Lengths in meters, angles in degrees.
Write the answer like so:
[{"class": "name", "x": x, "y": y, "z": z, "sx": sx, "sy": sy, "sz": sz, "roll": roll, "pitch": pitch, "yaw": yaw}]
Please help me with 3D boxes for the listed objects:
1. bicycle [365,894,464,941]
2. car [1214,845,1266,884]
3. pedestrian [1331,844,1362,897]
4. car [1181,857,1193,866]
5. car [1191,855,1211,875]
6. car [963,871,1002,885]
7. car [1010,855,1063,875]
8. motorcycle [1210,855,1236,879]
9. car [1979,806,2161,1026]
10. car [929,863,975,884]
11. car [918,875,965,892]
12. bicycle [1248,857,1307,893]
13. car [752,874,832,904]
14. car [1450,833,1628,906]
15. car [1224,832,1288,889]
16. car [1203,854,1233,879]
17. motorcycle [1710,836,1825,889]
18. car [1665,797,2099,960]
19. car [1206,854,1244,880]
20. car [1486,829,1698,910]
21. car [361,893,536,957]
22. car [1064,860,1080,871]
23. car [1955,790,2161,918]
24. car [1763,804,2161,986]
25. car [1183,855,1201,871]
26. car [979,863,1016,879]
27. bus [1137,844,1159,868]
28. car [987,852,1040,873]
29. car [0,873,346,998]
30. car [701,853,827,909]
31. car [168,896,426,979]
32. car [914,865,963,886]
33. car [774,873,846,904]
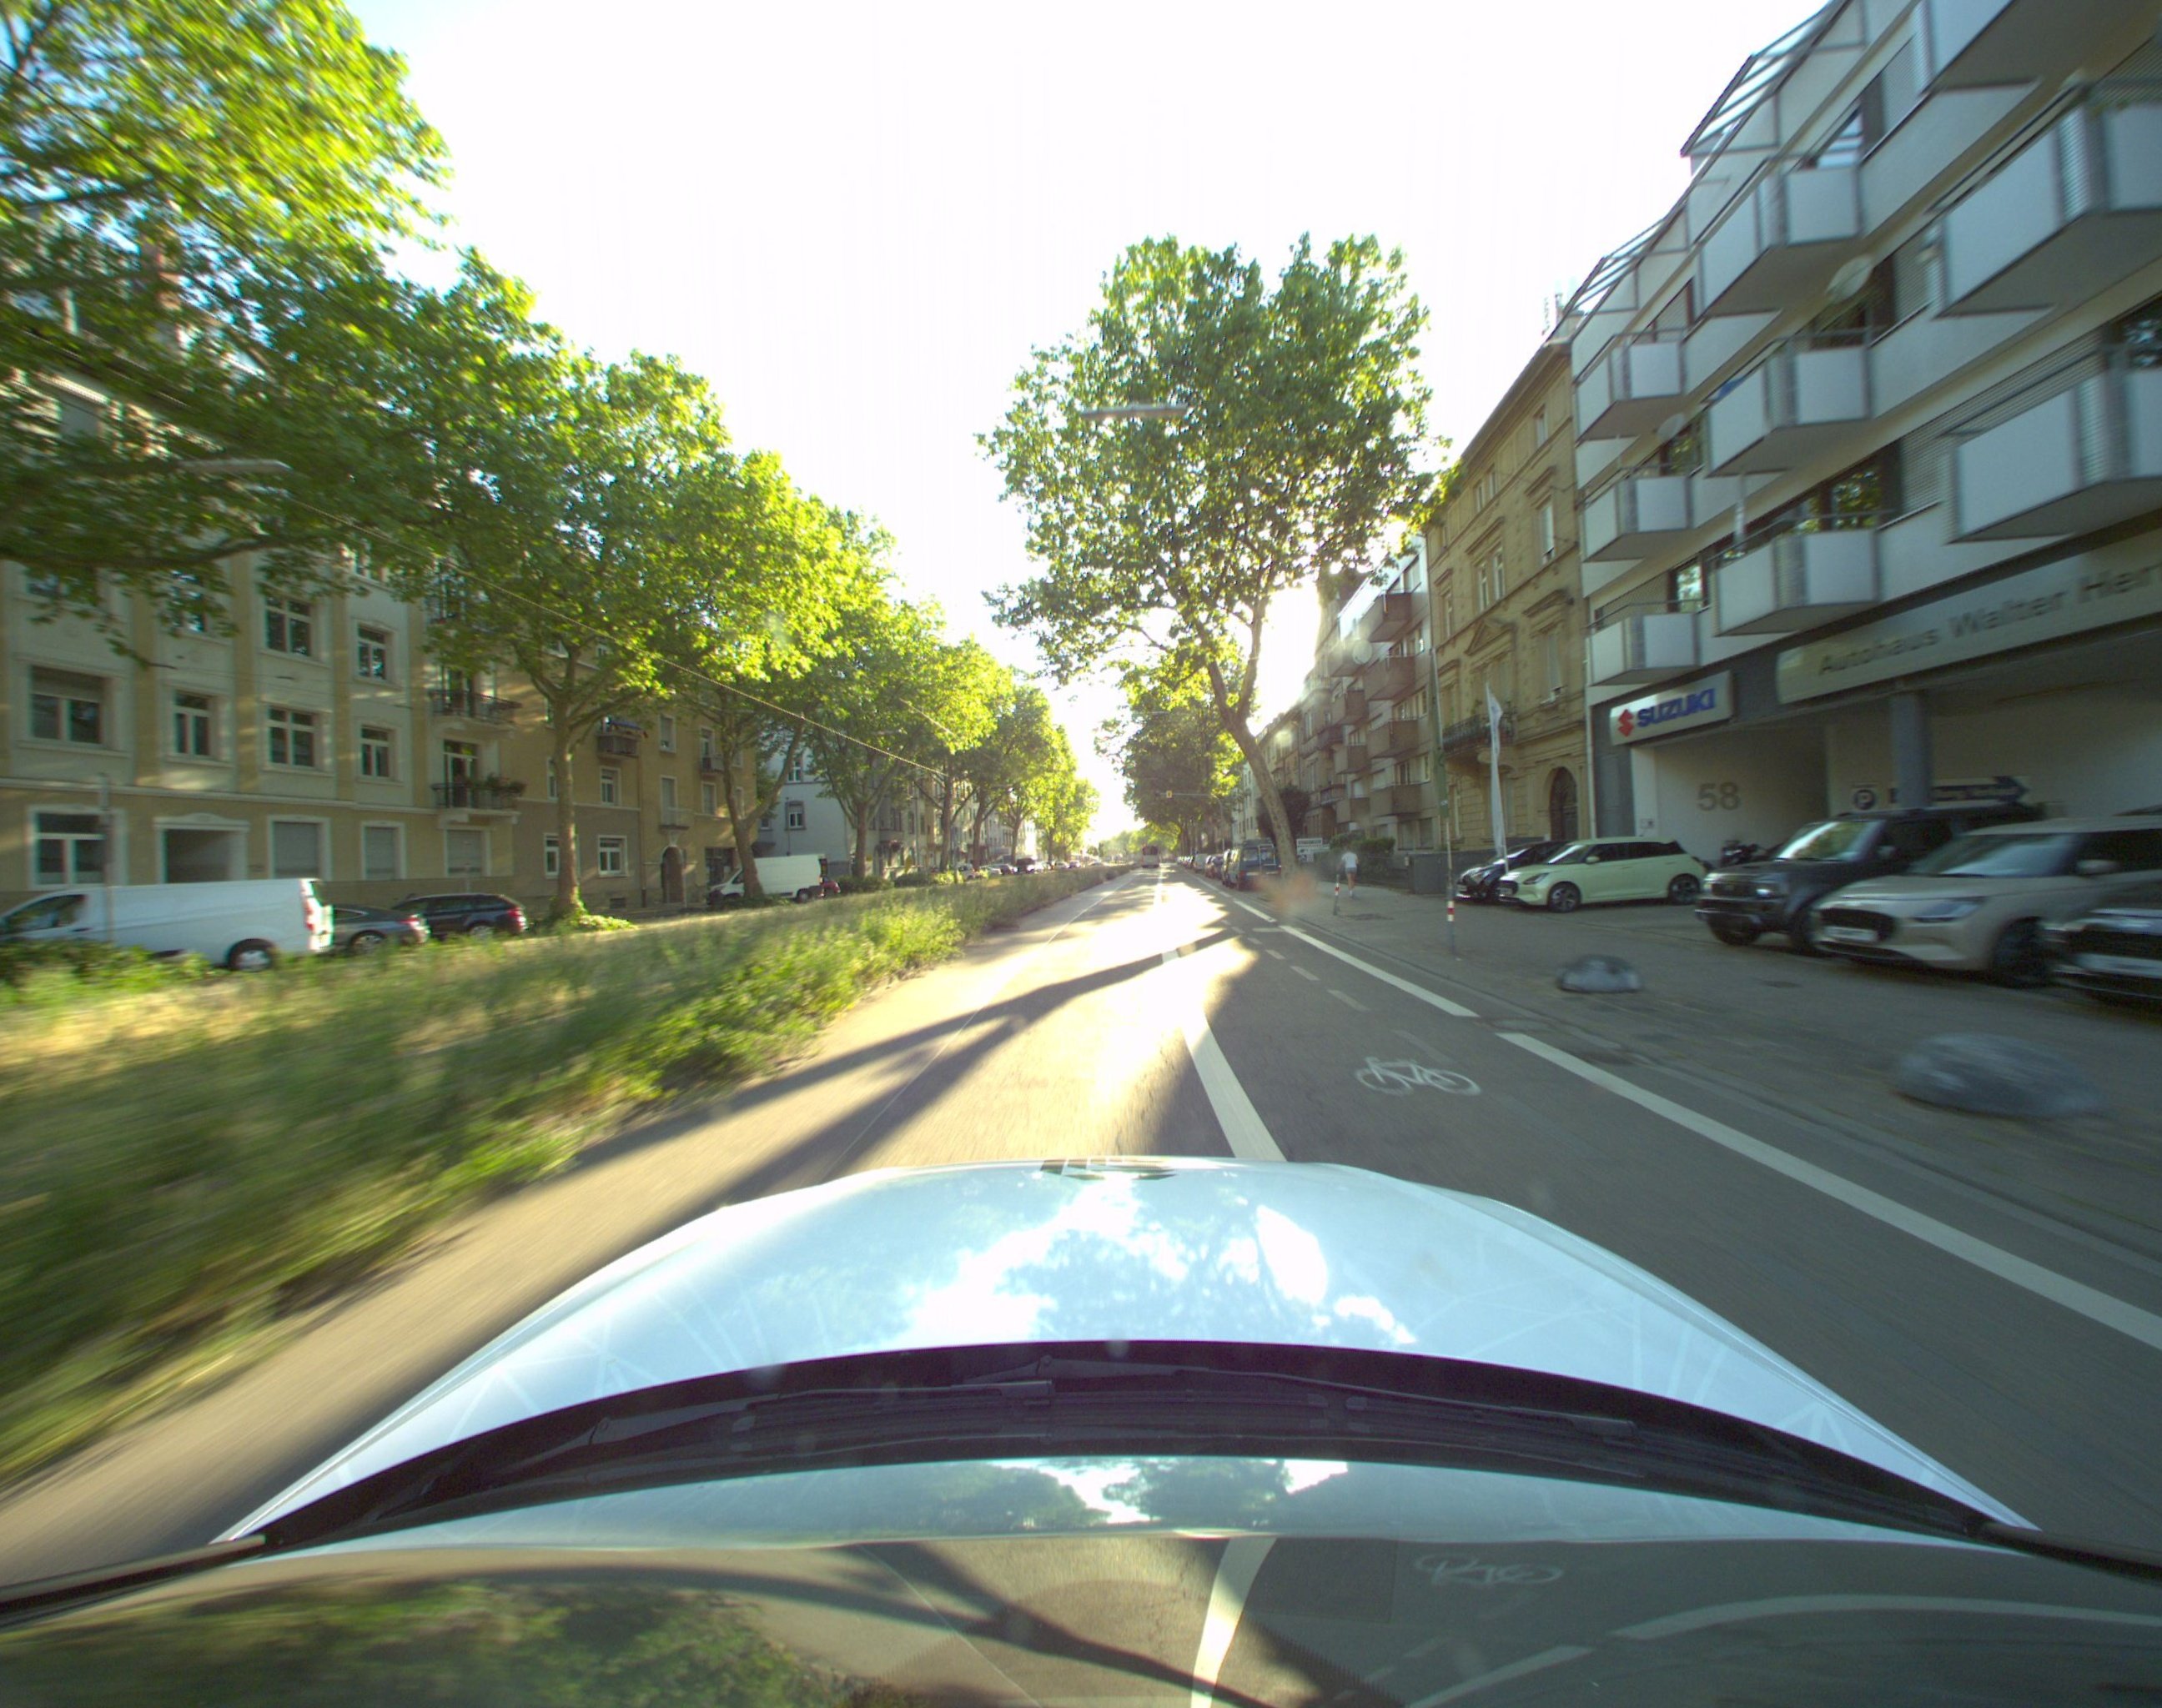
[{"class": "bicycle", "x": -23.037, "y": 2.152, "z": 28.245, "sx": 0.738, "sy": 1.391, "sz": 2.965, "roll": -3, "pitch": 0, "yaw": 6}, {"class": "car", "x": 8.039, "y": 0.547, "z": 41.621, "sx": 1.984, "sy": 1.830, "sz": 4.762, "roll": -3, "pitch": -1, "yaw": 4}, {"class": "pedestrian", "x": 8.347, "y": 0.514, "z": 25.611, "sx": 0.660, "sy": 1.629, "sz": 0.924, "roll": -2, "pitch": -1, "yaw": 5}, {"class": "car", "x": 17.795, "y": 1.252, "z": 136.291, "sx": 1.772, "sy": 1.516, "sz": 4.006, "roll": -3, "pitch": 0, "yaw": 5}, {"class": "car", "x": 11.322, "y": 1.056, "z": 76.660, "sx": 1.734, "sy": 1.770, "sz": 4.405, "roll": -3, "pitch": -1, "yaw": 9}, {"class": "car", "x": -10.817, "y": 2.634, "z": 89.358, "sx": 4.008, "sy": 1.356, "sz": 1.572, "roll": -2, "pitch": -1, "yaw": -27}, {"class": "car", "x": -4.185, "y": 1.043, "z": 76.590, "sx": 4.801, "sy": 1.694, "sz": 1.853, "roll": -1, "pitch": -2, "yaw": -40}, {"class": "motorcycle", "x": 8.681, "y": 0.784, "z": 50.007, "sx": 0.823, "sy": 1.398, "sz": 2.373, "roll": -4, "pitch": 0, "yaw": -7}, {"class": "car", "x": 9.181, "y": 0.360, "z": 5.876, "sx": 3.406, "sy": 1.525, "sz": 1.741, "roll": -3, "pitch": 0, "yaw": 1}, {"class": "car", "x": -12.732, "y": 1.885, "z": 80.526, "sx": 4.017, "sy": 1.882, "sz": 1.978, "roll": -2, "pitch": -2, "yaw": -35}, {"class": "car", "x": -13.136, "y": 2.752, "z": 76.704, "sx": 4.016, "sy": 1.448, "sz": 1.569, "roll": -2, "pitch": -2, "yaw": -34}, {"class": "bicycle", "x": 6.620, "y": 0.712, "z": 27.482, "sx": 1.836, "sy": 1.143, "sz": 0.349, "roll": -3, "pitch": -1, "yaw": 4}, {"class": "car", "x": -15.712, "y": 1.903, "z": 44.367, "sx": 3.727, "sy": 1.399, "sz": 1.717, "roll": -2, "pitch": -1, "yaw": -37}, {"class": "car", "x": 10.972, "y": 0.382, "z": 19.659, "sx": 3.404, "sy": 1.546, "sz": 1.443, "roll": -2, "pitch": -1, "yaw": 2}, {"class": "car", "x": 7.679, "y": 0.304, "z": 36.269, "sx": 1.984, "sy": 2.257, "sz": 5.241, "roll": -2, "pitch": -1, "yaw": 4}, {"class": "car", "x": 9.948, "y": 0.918, "z": 59.501, "sx": 1.736, "sy": 1.690, "sz": 3.856, "roll": -3, "pitch": -1, "yaw": 4}, {"class": "motorcycle", "x": 15.704, "y": 0.195, "z": 18.671, "sx": 1.921, "sy": 1.122, "sz": 0.740, "roll": -3, "pitch": -1, "yaw": 4}, {"class": "car", "x": 9.733, "y": 0.284, "z": 10.173, "sx": 3.561, "sy": 1.720, "sz": 1.685, "roll": -3, "pitch": 1, "yaw": 7}, {"class": "car", "x": 9.516, "y": 0.879, "z": 54.092, "sx": 1.984, "sy": 1.560, "sz": 3.984, "roll": -3, "pitch": -1, "yaw": 4}, {"class": "car", "x": 10.868, "y": 0.335, "z": 17.553, "sx": 3.400, "sy": 1.519, "sz": 1.761, "roll": -3, "pitch": -1, "yaw": 7}, {"class": "car", "x": -17.706, "y": 1.934, "z": 22.973, "sx": 3.746, "sy": 1.422, "sz": 1.702, "roll": -2, "pitch": -1, "yaw": -37}, {"class": "car", "x": -1.268, "y": 1.680, "z": 119.663, "sx": 1.781, "sy": 1.574, "sz": 4.006, "roll": -3, "pitch": -1, "yaw": 6}, {"class": "car", "x": 14.603, "y": -0.022, "z": 11.114, "sx": 1.627, "sy": 1.656, "sz": 3.557, "roll": -2, "pitch": -1, "yaw": -42}, {"class": "car", "x": 9.581, "y": 0.336, "z": 8.177, "sx": 3.803, "sy": 1.540, "sz": 1.861, "roll": -3, "pitch": 0, "yaw": 3}, {"class": "car", "x": 13.068, "y": 1.119, "z": 95.852, "sx": 1.736, "sy": 1.770, "sz": 4.994, "roll": -3, "pitch": -1, "yaw": 4}, {"class": "car", "x": -10.025, "y": 2.037, "z": 98.004, "sx": 4.009, "sy": 1.699, "sz": 1.840, "roll": -4, "pitch": -1, "yaw": -27}, {"class": "bus", "x": 9.582, "y": 0.387, "z": 117.564, "sx": 2.822, "sy": 3.236, "sz": 8.188, "roll": -2, "pitch": -1, "yaw": 3}, {"class": "car", "x": -9.449, "y": 1.180, "z": 113.814, "sx": 6.951, "sy": 2.678, "sz": 2.174, "roll": -2, "pitch": -1, "yaw": -16}, {"class": "car", "x": -18.502, "y": 1.531, "z": 16.419, "sx": 5.271, "sy": 2.066, "sz": 1.702, "roll": -2, "pitch": -1, "yaw": -37}, {"class": "car", "x": -16.096, "y": 1.309, "z": 41.526, "sx": 5.534, "sy": 2.529, "sz": 2.102, "roll": -2, "pitch": -1, "yaw": -37}, {"class": "car", "x": -18.330, "y": 1.884, "z": 19.352, "sx": 4.196, "sy": 1.491, "sz": 1.702, "roll": -2, "pitch": -1, "yaw": -37}, {"class": "car", "x": -13.020, "y": 1.981, "z": 74.358, "sx": 4.016, "sy": 1.723, "sz": 1.766, "roll": -2, "pitch": -2, "yaw": -34}, {"class": "car", "x": -15.705, "y": 1.982, "z": 47.208, "sx": 3.718, "sy": 1.466, "sz": 1.721, "roll": -4, "pitch": 0, "yaw": -27}]
